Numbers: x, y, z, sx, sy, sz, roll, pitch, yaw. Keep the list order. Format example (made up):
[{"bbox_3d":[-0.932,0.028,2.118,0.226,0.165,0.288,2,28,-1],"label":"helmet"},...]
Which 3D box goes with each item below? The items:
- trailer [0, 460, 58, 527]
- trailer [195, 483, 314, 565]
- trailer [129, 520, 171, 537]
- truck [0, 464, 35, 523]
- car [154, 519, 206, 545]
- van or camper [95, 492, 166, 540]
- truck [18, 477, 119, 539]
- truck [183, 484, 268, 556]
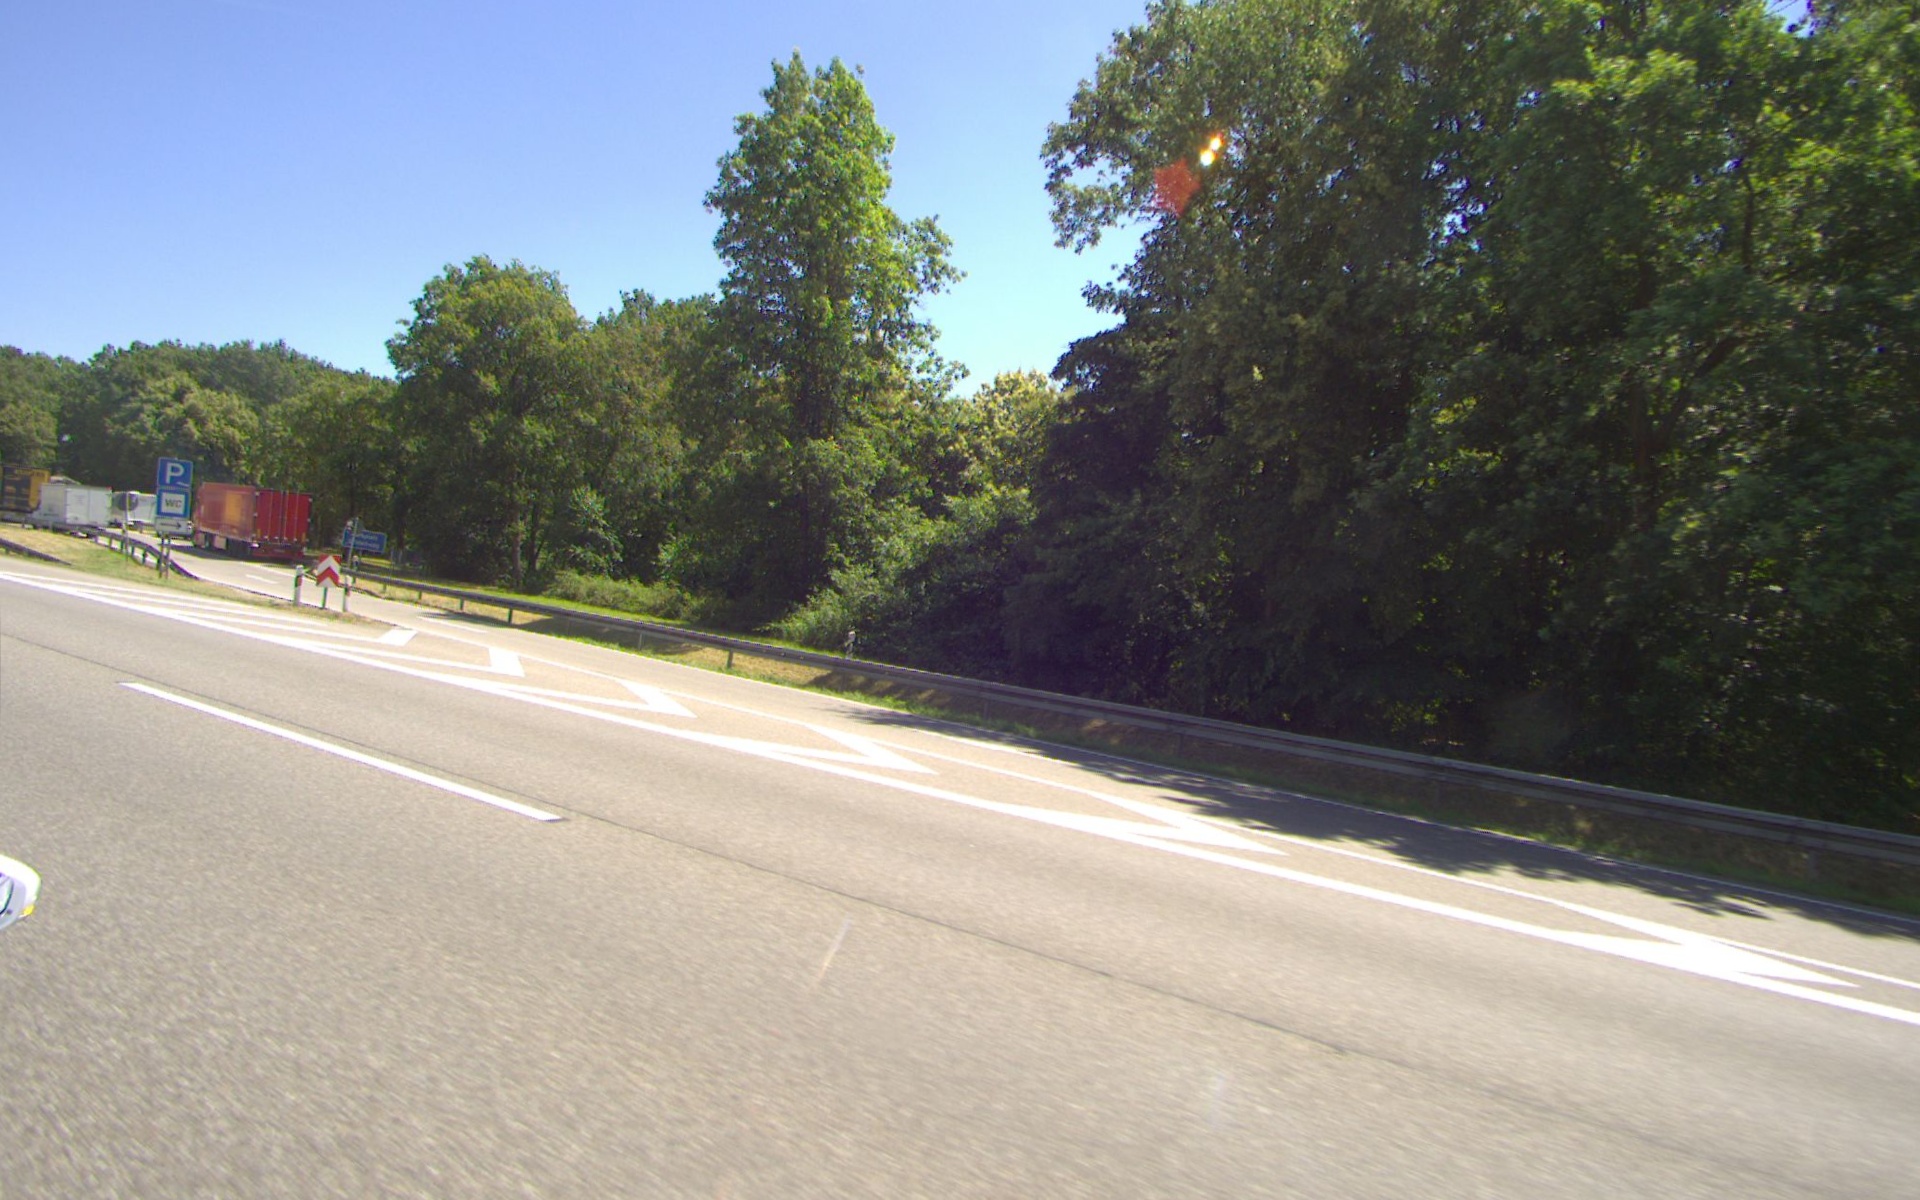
[{"bbox_3d":[-67.029,-7.573,71.048,11.386,3.982,3.182,6,-1,40],"label":"trailer"},{"bbox_3d":[-40.812,-4.480,57.939,12.718,3.925,2.973,6,0,44],"label":"trailer"},{"bbox_3d":[-61.671,-5.445,76.537,3.943,0.970,1.773,6,-1,41],"label":"trailer"},{"bbox_3d":[-72.470,-8.145,75.697,6.522,3.982,3.182,6,-1,40],"label":"truck"},{"bbox_3d":[-56.133,-4.910,72.365,4.963,1.469,1.991,6,-1,41],"label":"car"},{"bbox_3d":[-67.559,-6.892,81.877,6.899,3.274,2.996,6,0,40],"label":"van or camper"},{"bbox_3d":[-53.336,-5.536,60.108,7.536,2.981,2.471,6,-1,34],"label":"truck"},{"bbox_3d":[-46.046,-5.053,63.026,6.333,3.929,2.973,6,0,44],"label":"truck"}]
